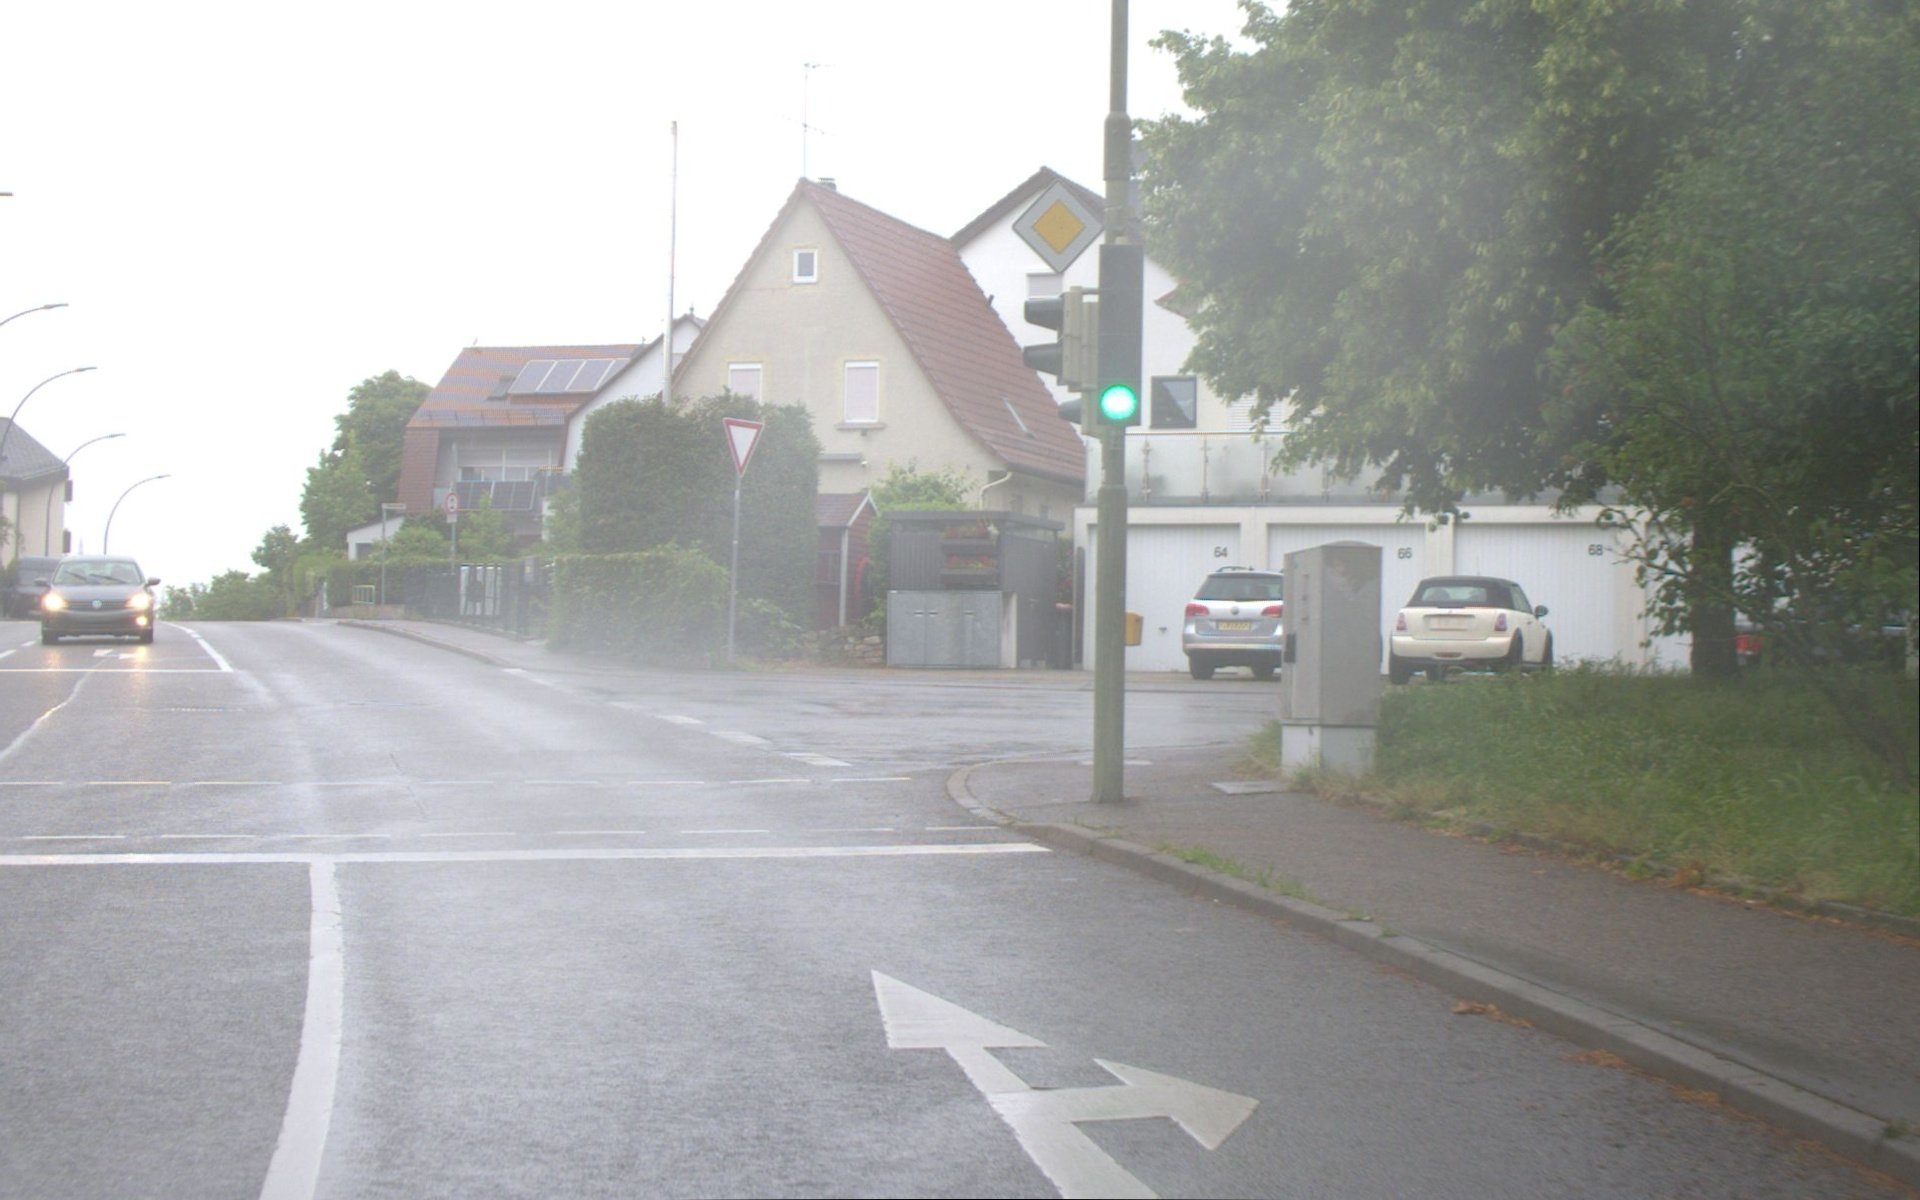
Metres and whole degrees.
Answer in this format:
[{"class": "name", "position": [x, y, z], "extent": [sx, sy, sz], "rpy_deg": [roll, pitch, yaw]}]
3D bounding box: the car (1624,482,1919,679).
[{"class": "car", "position": [7.093, -0.147, 26.129], "extent": [3.988, 1.450, 1.854], "rpy_deg": [0, 0, 10]}]

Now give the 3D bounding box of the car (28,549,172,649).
[{"class": "car", "position": [-14.151, -0.043, 56.449], "extent": [1.943, 1.568, 4.227], "rpy_deg": [0, 1, -19]}]

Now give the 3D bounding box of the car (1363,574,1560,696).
[{"class": "car", "position": [6.748, 0.429, 45.950], "extent": [1.995, 1.525, 3.997], "rpy_deg": [0, 1, 17]}]

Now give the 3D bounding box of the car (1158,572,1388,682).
[{"class": "car", "position": [4.302, 0.334, 46.657], "extent": [1.996, 1.393, 4.146], "rpy_deg": [0, 1, 22]}]

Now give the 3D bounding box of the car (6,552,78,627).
[{"class": "car", "position": [-35.134, -0.381, 131.652], "extent": [2.093, 2.640, 5.919], "rpy_deg": [3, -2, -11]}]

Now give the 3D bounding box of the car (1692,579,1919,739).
[{"class": "car", "position": [9.290, 0.575, 32.923], "extent": [4.175, 1.437, 1.833], "rpy_deg": [1, 0, 2]}]
